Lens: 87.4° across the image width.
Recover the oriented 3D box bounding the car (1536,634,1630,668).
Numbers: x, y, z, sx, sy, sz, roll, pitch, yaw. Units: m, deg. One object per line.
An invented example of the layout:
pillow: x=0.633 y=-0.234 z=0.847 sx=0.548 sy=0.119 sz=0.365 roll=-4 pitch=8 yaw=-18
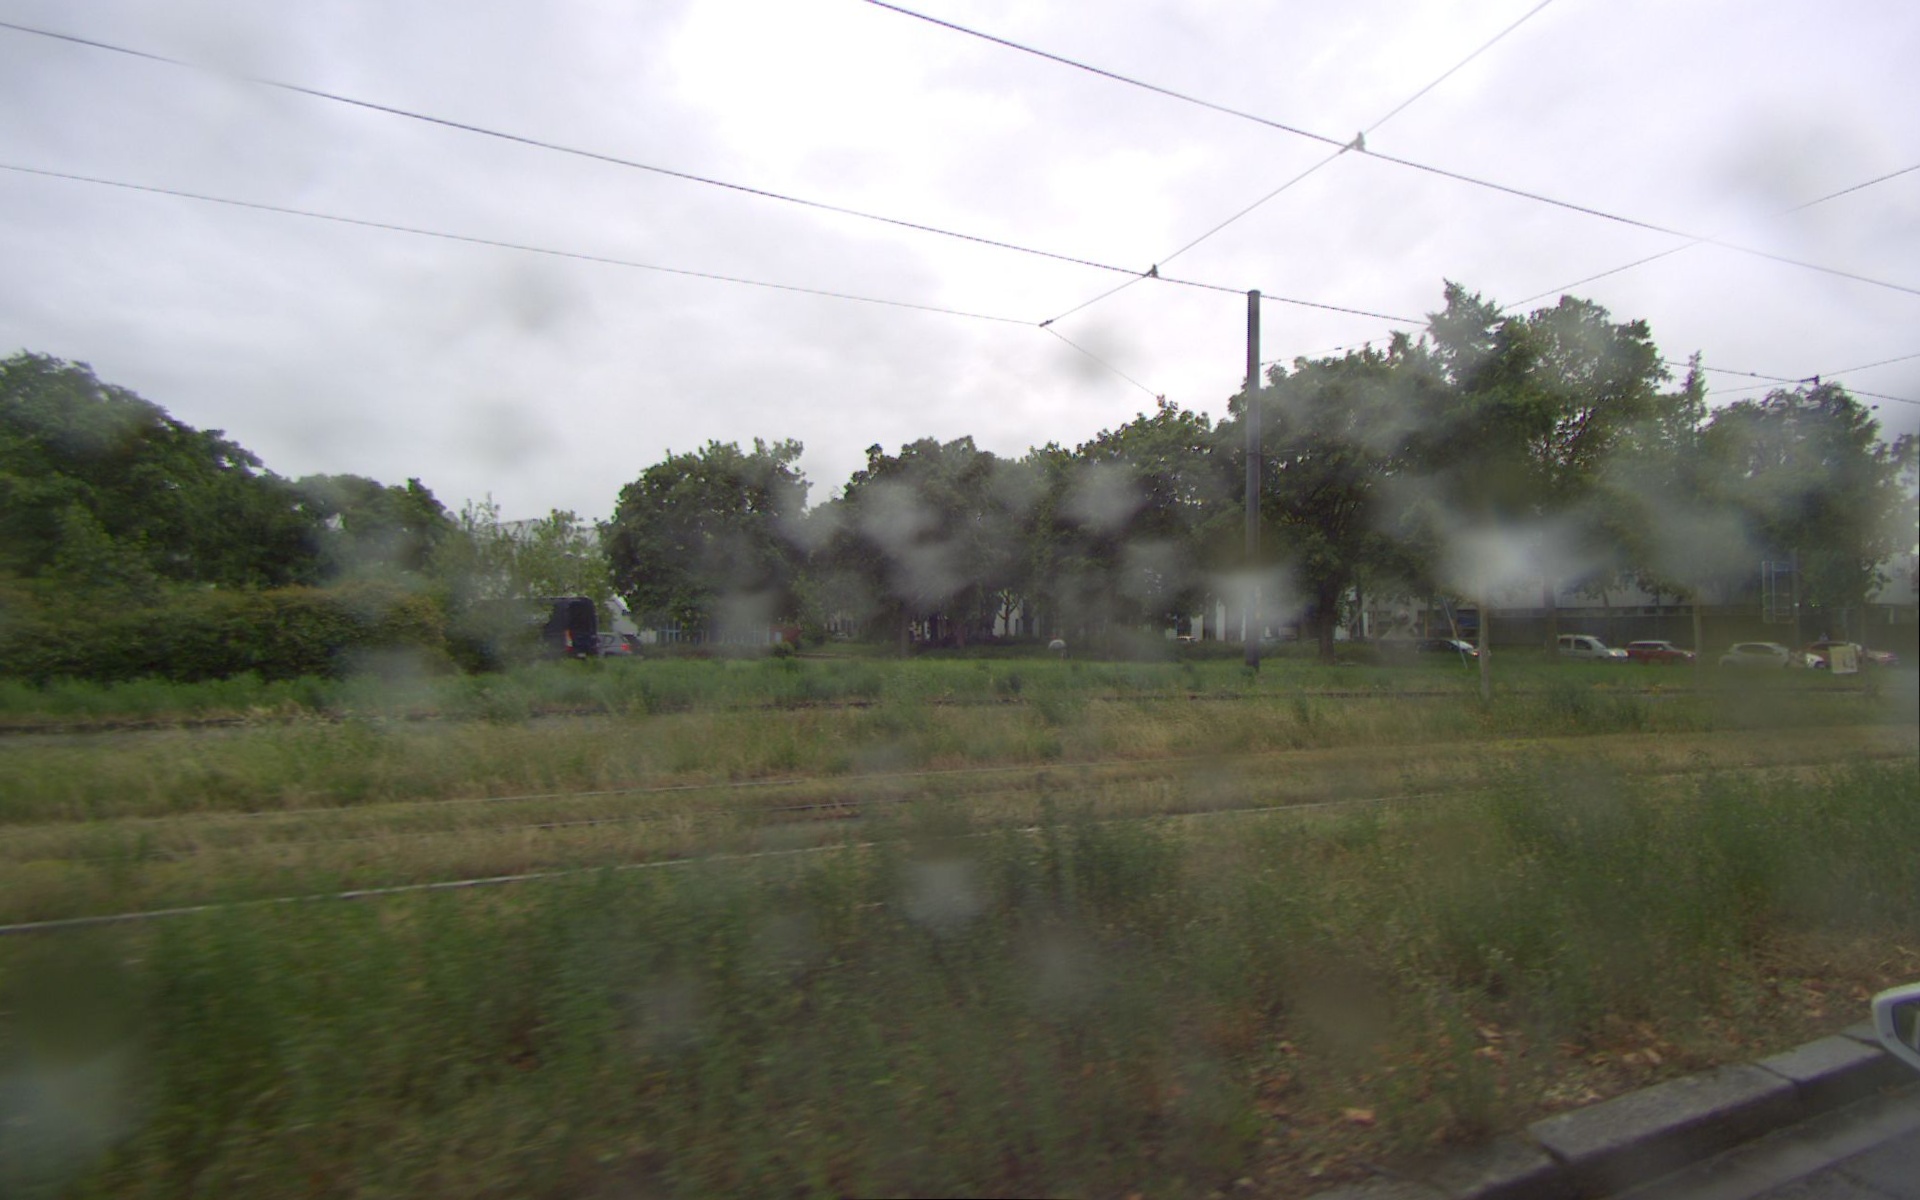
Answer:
car: x=34.640 y=2.793 z=55.937 sx=1.632 sy=1.820 sz=4.190 roll=0 pitch=-2 yaw=-30

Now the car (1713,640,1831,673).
car: x=38.554 y=2.667 z=47.786 sx=1.631 sy=1.518 sz=4.051 roll=2 pitch=-3 yaw=-27

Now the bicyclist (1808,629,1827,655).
bicyclist: x=55.983 y=2.757 z=65.585 sx=0.632 sy=1.705 sz=0.683 roll=1 pitch=-2 yaw=-20

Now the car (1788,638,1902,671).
car: x=42.506 y=2.598 z=48.342 sx=1.631 sy=1.518 sz=3.805 roll=2 pitch=-3 yaw=-27

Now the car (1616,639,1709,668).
car: x=38.754 y=2.927 z=55.504 sx=1.633 sy=1.518 sz=3.888 roll=0 pitch=-2 yaw=-31

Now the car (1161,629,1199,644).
car: x=22.213 y=3.703 z=101.530 sx=1.520 sy=1.439 sz=3.969 roll=1 pitch=-2 yaw=-30

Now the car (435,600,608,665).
car: x=-13.940 y=1.054 z=32.105 sx=4.620 sy=1.973 sz=2.038 roll=0 pitch=-2 yaw=4

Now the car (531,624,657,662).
car: x=-13.585 y=1.594 z=37.383 sx=4.014 sy=1.356 sz=1.839 roll=0 pitch=-2 yaw=8

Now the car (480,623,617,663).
car: x=-14.321 y=1.492 z=35.052 sx=4.014 sy=1.356 sz=1.839 roll=0 pitch=-2 yaw=8
